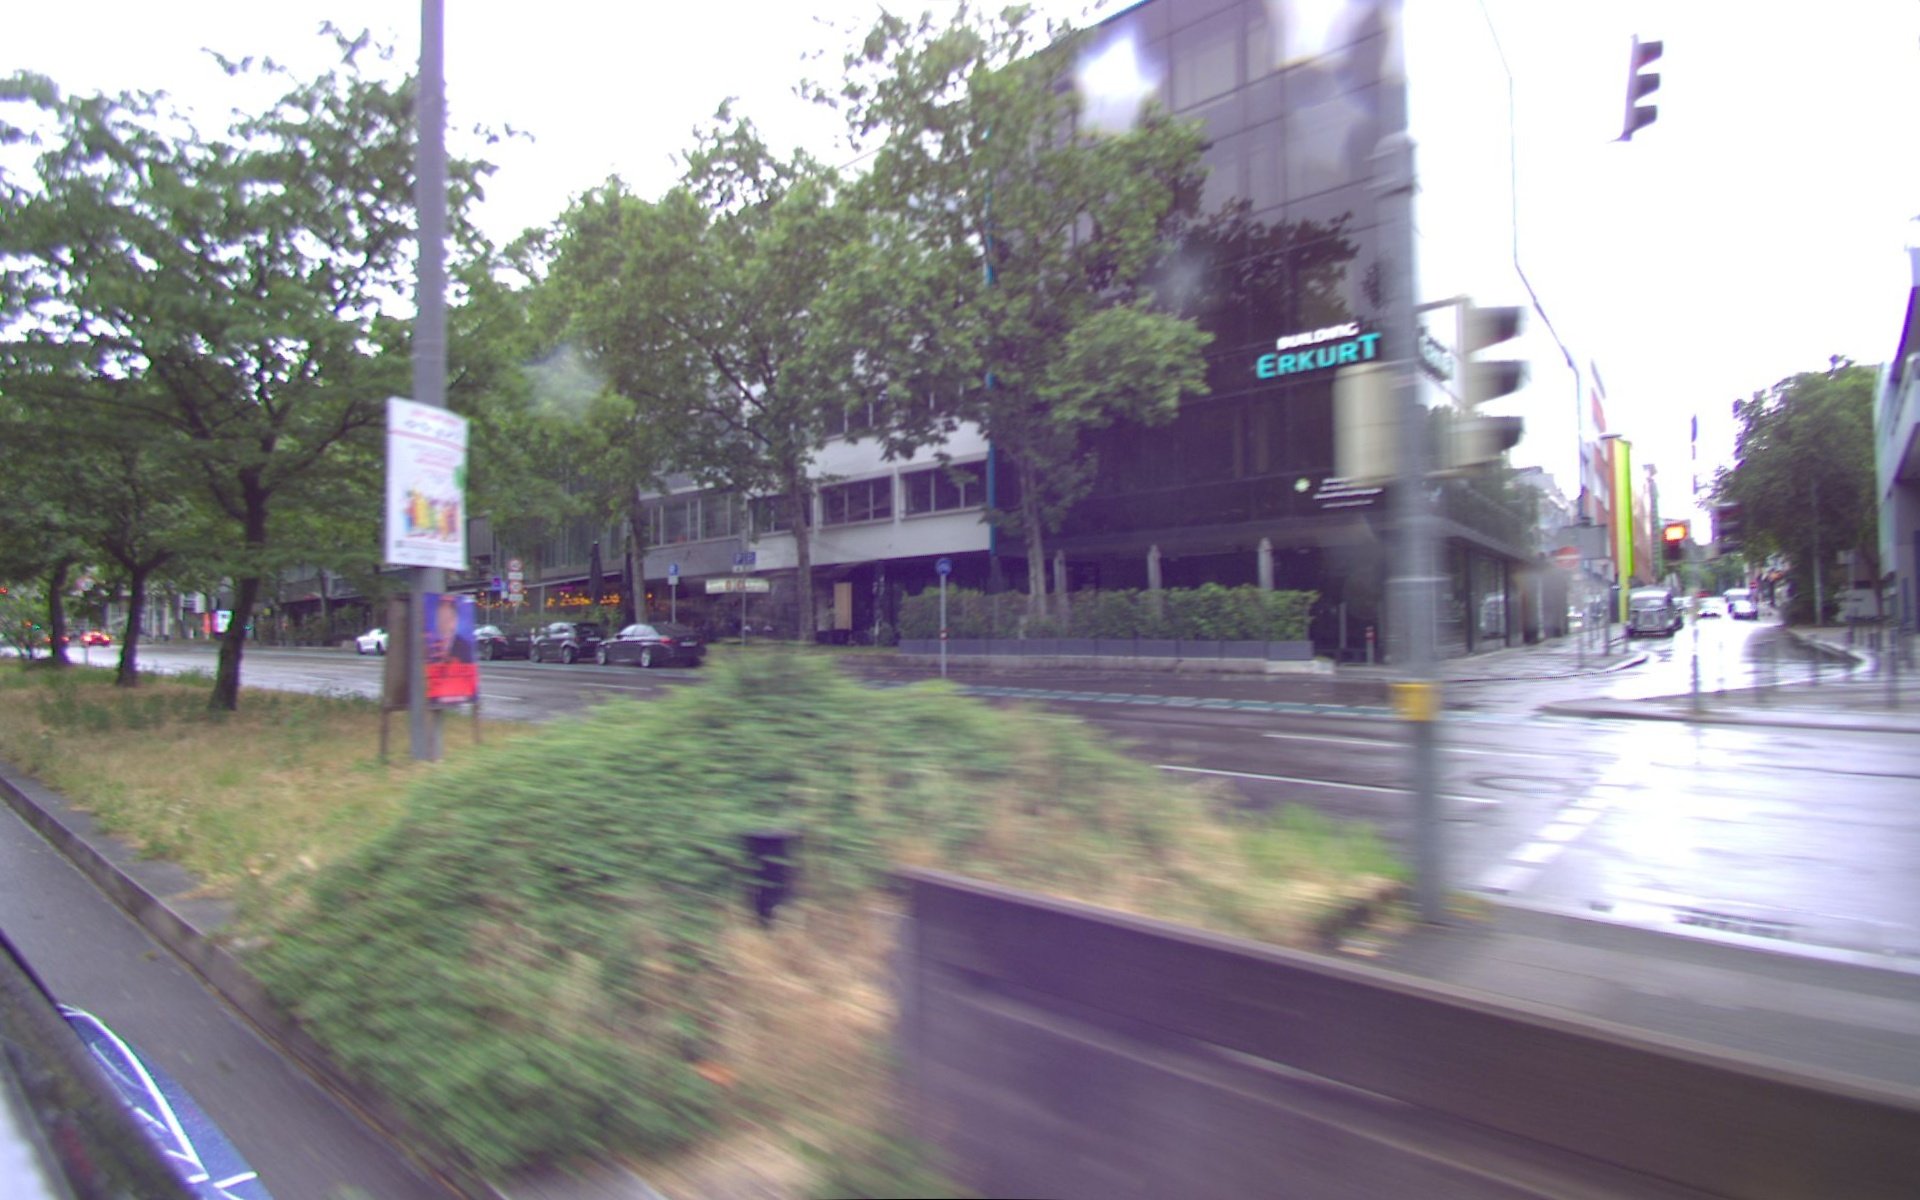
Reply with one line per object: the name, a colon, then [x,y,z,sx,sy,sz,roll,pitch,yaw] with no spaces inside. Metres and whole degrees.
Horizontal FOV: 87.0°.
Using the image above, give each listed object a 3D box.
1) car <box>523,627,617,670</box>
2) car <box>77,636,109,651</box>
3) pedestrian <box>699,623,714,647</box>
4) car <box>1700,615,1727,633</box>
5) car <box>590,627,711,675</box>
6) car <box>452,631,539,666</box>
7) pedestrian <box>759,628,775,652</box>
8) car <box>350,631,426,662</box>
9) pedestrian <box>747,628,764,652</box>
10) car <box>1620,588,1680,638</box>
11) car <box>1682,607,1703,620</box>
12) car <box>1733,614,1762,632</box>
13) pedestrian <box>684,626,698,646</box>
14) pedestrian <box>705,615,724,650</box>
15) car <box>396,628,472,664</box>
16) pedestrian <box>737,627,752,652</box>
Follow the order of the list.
car: [-14.361,1.730,37.176,3.399,1.433,1.851,-1,0,41]
car: [-83.095,4.145,96.989,3.736,1.335,1.743,-1,0,41]
pedestrian: [-11.084,1.520,44.248,0.423,1.024,0.459,-1,0,38]
car: [71.142,2.264,95.503,1.997,1.519,3.949,-1,0,38]
car: [-10.332,1.631,33.571,4.538,1.396,1.850,-1,0,44]
car: [-18.877,1.938,41.046,4.318,1.249,1.626,-1,0,42]
pedestrian: [-7.959,1.645,41.809,0.451,0.970,0.454,-1,0,25]
car: [-27.629,2.229,48.828,4.390,1.336,1.857,-1,0,41]
pedestrian: [-8.484,1.655,41.983,0.488,1.008,0.482,-1,0,25]
car: [34.732,0.590,50.839,2.246,2.341,6.681,-1,0,36]
car: [88.922,1.673,122.860,1.997,1.519,3.949,-1,0,38]
car: [70.580,2.033,90.740,1.997,1.519,3.949,-1,0,38]
pedestrian: [-12.024,1.615,45.254,0.432,0.856,0.435,-1,0,38]
pedestrian: [-11.936,1.584,49.217,0.622,1.660,0.599,-1,0,36]
car: [-23.455,2.018,45.098,3.787,1.464,1.728,-1,0,41]
pedestrian: [-9.018,1.655,42.362,0.461,1.000,0.455,-1,0,25]
